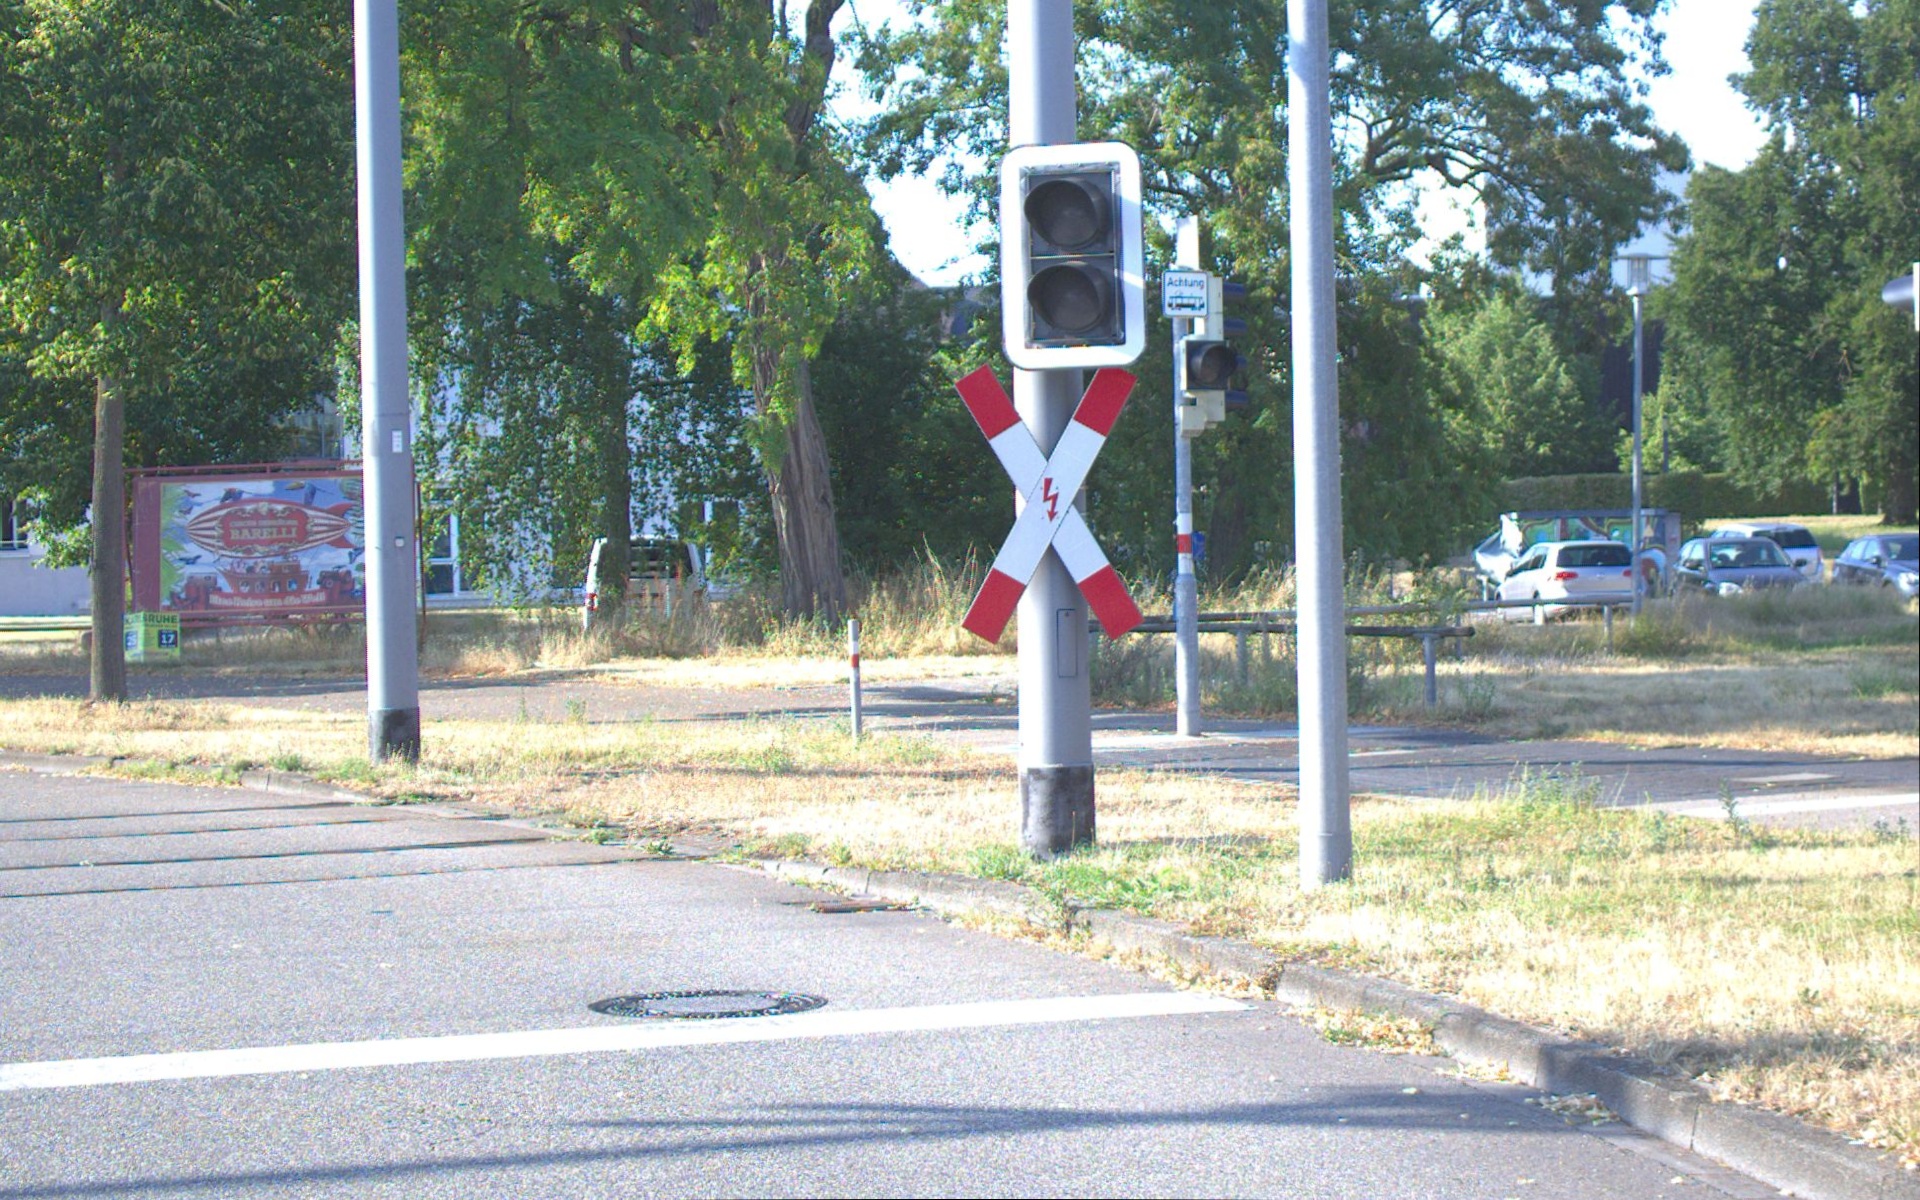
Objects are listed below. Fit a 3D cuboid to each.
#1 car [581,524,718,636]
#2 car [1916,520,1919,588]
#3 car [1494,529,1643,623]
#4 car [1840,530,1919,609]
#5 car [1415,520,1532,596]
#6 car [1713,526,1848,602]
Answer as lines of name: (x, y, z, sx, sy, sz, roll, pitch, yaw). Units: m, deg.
car: (-4.781, -0.327, 53.330, 1.771, 1.612, 3.969, -2, 1, -1)
car: (20.432, -0.934, 68.503, 1.601, 1.397, 3.969, -2, 1, -1)
car: (9.698, -0.396, 55.005, 1.601, 1.397, 3.969, -2, 1, -1)
car: (15.527, -0.514, 55.408, 1.601, 1.216, 3.969, -2, 1, -1)
car: (9.964, -0.828, 66.931, 1.601, 1.397, 3.969, -2, 1, -1)
car: (15.947, -0.704, 66.998, 1.601, 1.397, 3.969, -2, 1, -1)
